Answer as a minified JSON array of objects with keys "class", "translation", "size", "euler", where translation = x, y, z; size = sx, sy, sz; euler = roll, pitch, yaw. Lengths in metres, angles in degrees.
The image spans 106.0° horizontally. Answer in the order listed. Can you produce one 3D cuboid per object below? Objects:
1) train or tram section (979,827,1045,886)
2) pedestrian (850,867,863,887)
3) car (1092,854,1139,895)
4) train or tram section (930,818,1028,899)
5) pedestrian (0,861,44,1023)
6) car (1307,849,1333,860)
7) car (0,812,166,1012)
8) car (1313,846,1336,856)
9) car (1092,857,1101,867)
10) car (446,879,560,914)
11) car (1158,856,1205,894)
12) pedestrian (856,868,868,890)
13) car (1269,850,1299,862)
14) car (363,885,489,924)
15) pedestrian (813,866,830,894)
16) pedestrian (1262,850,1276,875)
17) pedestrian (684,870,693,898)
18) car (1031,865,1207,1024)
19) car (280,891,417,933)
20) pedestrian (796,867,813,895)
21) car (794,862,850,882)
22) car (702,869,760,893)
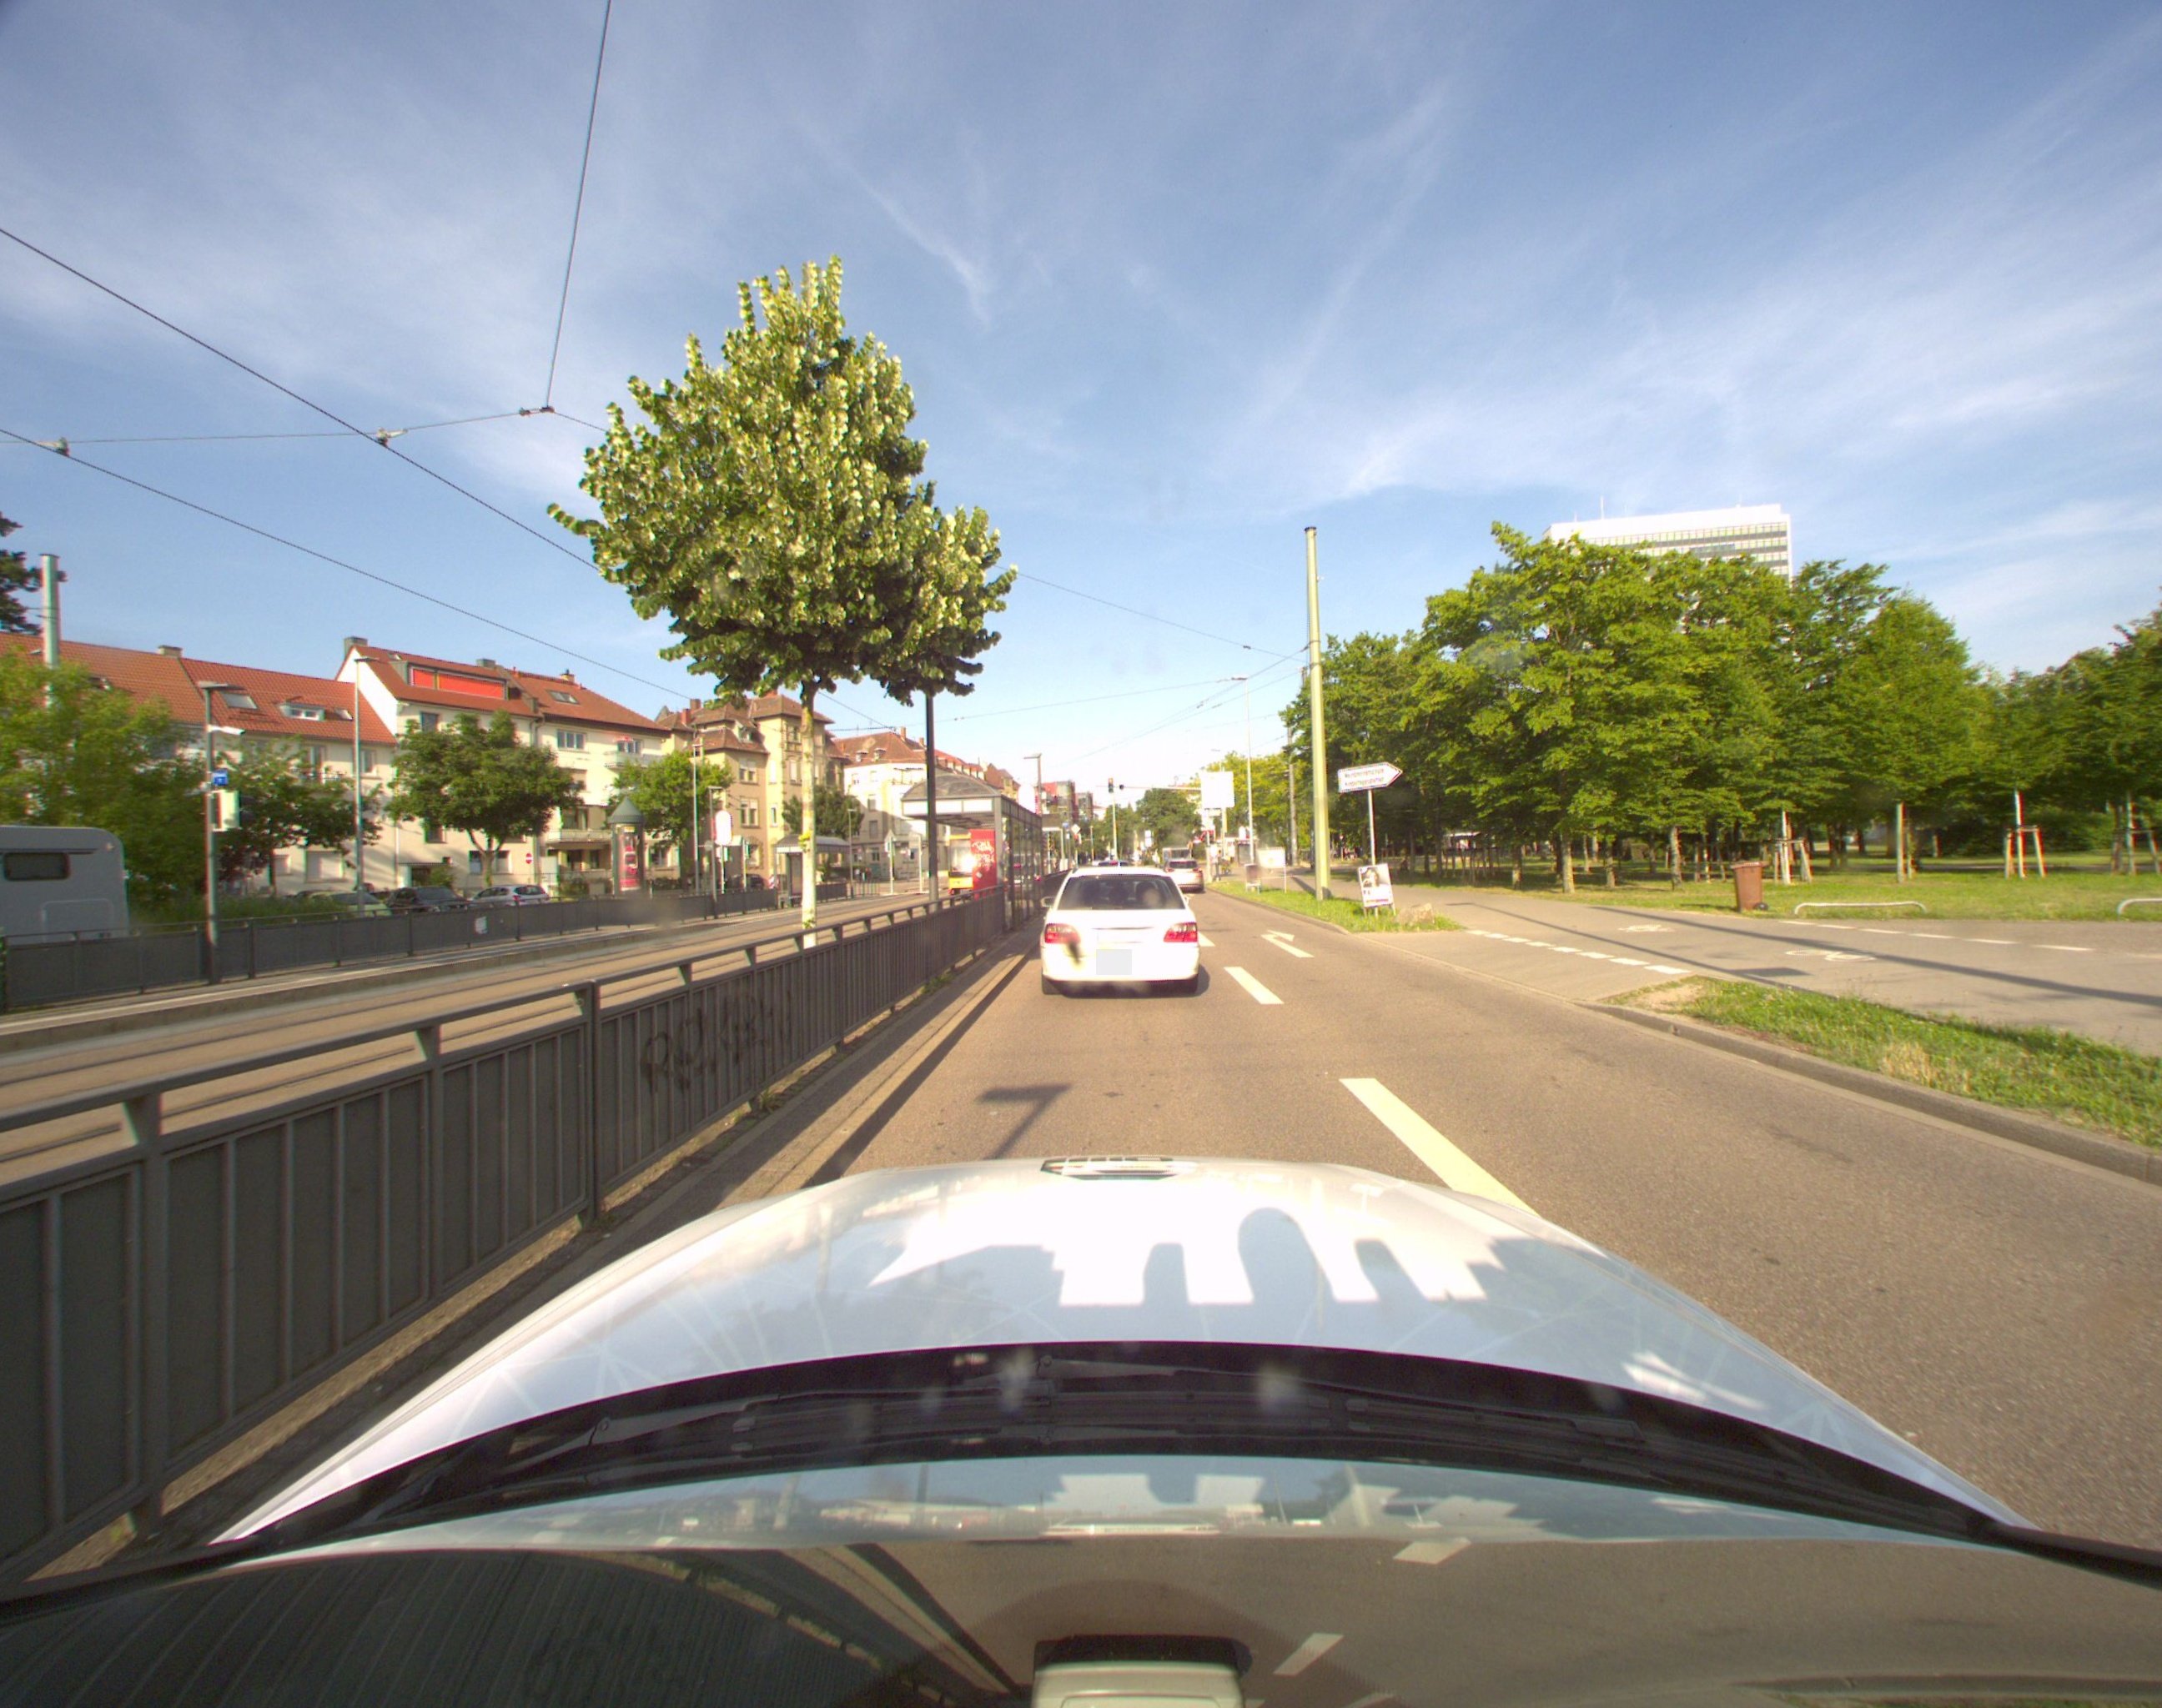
[{"class":"train or tram section","translation":[-4.435,0.158,55.182],"size":[2.839,3.479,13.205],"euler":[-1,0,2]},{"class":"pedestrian","translation":[-20.287,2.092,73.683],"size":[0.882,1.753,0.747],"euler":[-1,0,6]},{"class":"car","translation":[1.595,0.866,36.253],"size":[1.778,1.690,4.007],"euler":[-1,0,7]},{"class":"train or tram section","translation":[-4.906,0.179,42.198],"size":[2.838,3.479,13.207],"euler":[-1,0,2]},{"class":"pedestrian","translation":[-12.021,0.962,8.706],"size":[0.832,1.733,0.773],"euler":[-2,0,2]},{"class":"car","translation":[42.244,0.053,144.036],"size":[4.006,1.651,1.984],"euler":[-2,-1,-25]},{"class":"car","translation":[-16.180,0.827,9.395],"size":[2.586,2.735,7.472],"euler":[-1,0,2]},{"class":"car","translation":[44.652,-0.577,149.607],"size":[3.956,1.651,2.009],"euler":[-3,-1,16]},{"class":"car","translation":[3.494,1.765,182.656],"size":[1.986,2.013,4.001],"euler":[-2,-1,2]},{"class":"car","translation":[-25.305,1.864,35.665],"size":[3.956,1.398,2.009],"euler":[-2,0,16]},{"class":"car","translation":[4.644,0.955,37.978],"size":[2.022,1.605,4.007],"euler":[-1,0,6]},{"class":"pedestrian","translation":[-18.027,2.069,67.041],"size":[0.662,1.753,0.747],"euler":[-1,0,6]},{"class":"car","translation":[30.927,0.325,124.028],"size":[4.006,1.651,1.984],"euler":[-2,-1,-25]},{"class":"car","translation":[-26.255,2.034,32.689],"size":[3.956,1.398,2.009],"euler":[-2,0,17]},{"class":"pedestrian","translation":[-16.899,1.696,52.990],"size":[0.886,1.753,0.743],"euler":[-1,0,-9]},{"class":"pedestrian","translation":[12.911,0.562,55.887],"size":[0.881,1.652,0.748],"euler":[-2,0,10]},{"class":"pedestrian","translation":[-28.223,2.141,58.549],"size":[0.379,2.013,0.410],"euler":[-2,0,21]},{"class":"car","translation":[0.446,0.957,10.372],"size":[1.752,1.503,4.001],"euler":[-2,0,1]},{"class":"car","translation":[-27.312,2.156,30.398],"size":[3.955,1.398,2.009],"euler":[-2,0,17]},{"class":"pedestrian","translation":[-17.907,1.735,52.834],"size":[0.886,1.753,0.743],"euler":[-1,0,-9]},{"class":"car","translation":[-23.575,1.654,74.277],"size":[2.183,1.628,4.744],"euler":[-2,0,25]},{"class":"car","translation":[-28.201,2.183,65.665],"size":[3.954,1.750,2.010],"euler":[-2,0,20]}]
